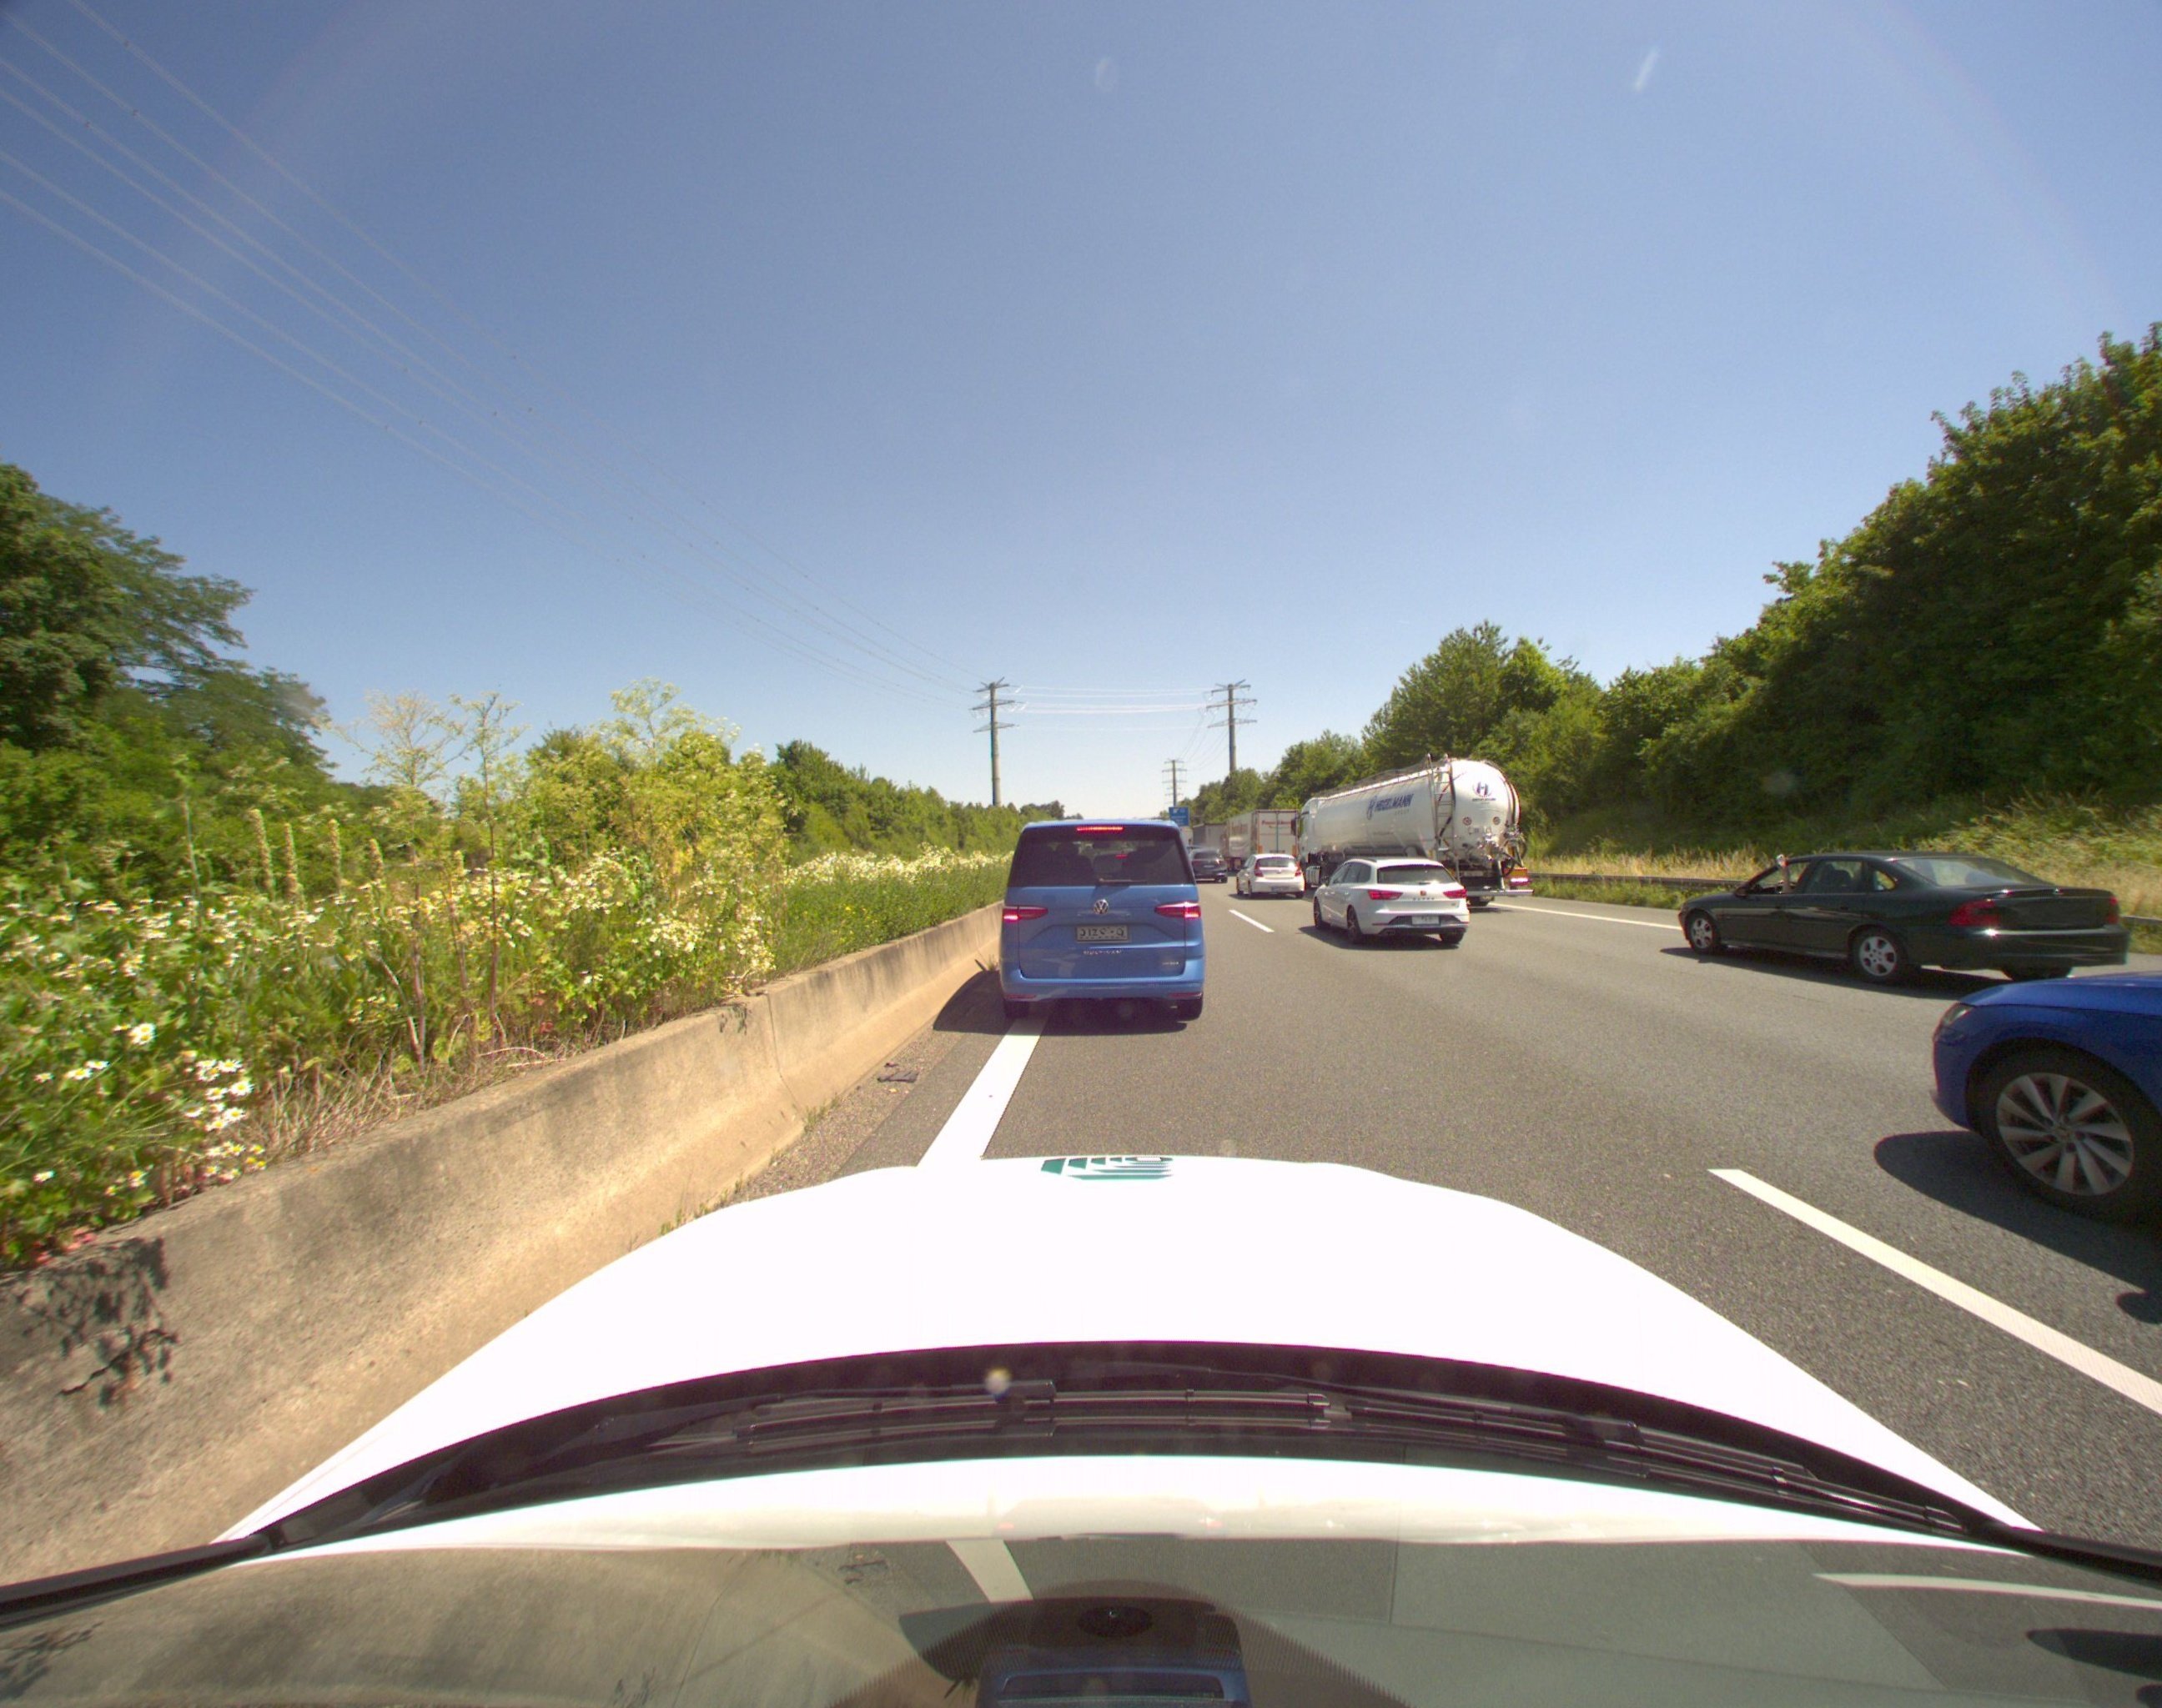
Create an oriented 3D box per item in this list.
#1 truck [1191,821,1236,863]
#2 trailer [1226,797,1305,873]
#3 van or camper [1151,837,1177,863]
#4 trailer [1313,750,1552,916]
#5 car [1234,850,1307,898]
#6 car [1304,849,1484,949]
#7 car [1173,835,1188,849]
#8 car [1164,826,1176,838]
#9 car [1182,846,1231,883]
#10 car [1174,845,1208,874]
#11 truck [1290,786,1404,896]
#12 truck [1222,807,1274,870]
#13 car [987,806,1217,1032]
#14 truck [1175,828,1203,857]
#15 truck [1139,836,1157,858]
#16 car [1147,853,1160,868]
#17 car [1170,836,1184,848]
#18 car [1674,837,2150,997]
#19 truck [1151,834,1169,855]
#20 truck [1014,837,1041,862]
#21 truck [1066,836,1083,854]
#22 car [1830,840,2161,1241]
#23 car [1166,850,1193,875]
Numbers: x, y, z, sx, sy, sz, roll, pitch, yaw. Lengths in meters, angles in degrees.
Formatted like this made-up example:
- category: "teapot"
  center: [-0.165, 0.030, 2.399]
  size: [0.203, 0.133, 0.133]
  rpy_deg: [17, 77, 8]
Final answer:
- category: "truck"
  center: [13.237, -1.069, 82.827]
  size: [2.993, 3.766, 15.728]
  rpy_deg: [-2, -1, 4]
- category: "trailer"
  center: [12.197, -1.120, 55.061]
  size: [2.900, 4.469, 12.161]
  rpy_deg: [-2, 0, 2]
- category: "van or camper"
  center: [10.286, -0.453, 101.028]
  size: [2.943, 3.022, 7.111]
  rpy_deg: [-2, -1, 4]
- category: "trailer"
  center: [10.001, -0.468, 25.158]
  size: [2.750, 3.845, 11.493]
  rpy_deg: [-2, 0, 2]
- category: "car"
  center: [6.404, 0.671, 27.926]
  size: [1.809, 1.485, 4.004]
  rpy_deg: [-2, -1, 4]
- category: "car"
  center: [5.336, 0.717, 14.522]
  size: [1.740, 1.443, 4.317]
  rpy_deg: [-2, -1, 4]
- category: "car"
  center: [15.859, -1.888, 129.859]
  size: [1.985, 2.014, 4.003]
  rpy_deg: [-2, -1, 3]
- category: "car"
  center: [16.453, -3.976, 150.662]
  size: [1.985, 2.014, 4.003]
  rpy_deg: [-2, -1, 3]
- category: "car"
  center: [6.340, 0.537, 41.531]
  size: [1.991, 1.715, 4.629]
  rpy_deg: [-2, -1, 4]
- category: "car"
  center: [7.799, 0.410, 57.949]
  size: [1.916, 1.925, 4.238]
  rpy_deg: [-3, -1, 2]
- category: "truck"
  center: [10.311, -0.452, 32.190]
  size: [2.782, 3.836, 5.575]
  rpy_deg: [-2, 0, 2]
- category: "truck"
  center: [12.472, -1.109, 61.406]
  size: [2.901, 4.469, 5.145]
  rpy_deg: [-2, -1, 2]
- category: "car"
  center: [0.278, 0.552, 8.867]
  size: [1.912, 1.886, 4.003]
  rpy_deg: [-1, 0, 3]
- category: "truck"
  center: [15.026, -1.483, 114.126]
  size: [2.883, 3.766, 13.357]
  rpy_deg: [-2, -1, 4]
- category: "truck"
  center: [12.263, -1.277, 149.698]
  size: [2.883, 3.766, 10.150]
  rpy_deg: [-2, -1, 4]
- category: "car"
  center: [10.346, 0.945, 116.321]
  size: [1.828, 1.998, 4.004]
  rpy_deg: [-3, -1, 4]
- category: "car"
  center: [16.473, -2.029, 139.639]
  size: [1.985, 2.014, 4.003]
  rpy_deg: [-2, -1, 3]
- category: "car"
  center: [9.216, 0.624, 9.615]
  size: [1.634, 1.416, 3.992]
  rpy_deg: [-3, -1, 4]
- category: "truck"
  center: [19.037, -2.210, 196.055]
  size: [3.552, 4.517, 10.299]
  rpy_deg: [-2, -1, 2]
- category: "truck"
  center: [-8.564, -0.671, 132.211]
  size: [2.899, 3.819, 11.953]
  rpy_deg: [-1, 0, 3]
- category: "truck"
  center: [-1.477, -2.016, 187.986]
  size: [3.159, 3.819, 11.953]
  rpy_deg: [-1, 0, 3]
- category: "car"
  center: [4.772, 0.639, 1.932]
  size: [1.770, 1.416, 4.573]
  rpy_deg: [-3, -1, 1]
- category: "car"
  center: [8.468, 0.748, 70.561]
  size: [1.916, 1.925, 4.238]
  rpy_deg: [-3, -1, 2]
